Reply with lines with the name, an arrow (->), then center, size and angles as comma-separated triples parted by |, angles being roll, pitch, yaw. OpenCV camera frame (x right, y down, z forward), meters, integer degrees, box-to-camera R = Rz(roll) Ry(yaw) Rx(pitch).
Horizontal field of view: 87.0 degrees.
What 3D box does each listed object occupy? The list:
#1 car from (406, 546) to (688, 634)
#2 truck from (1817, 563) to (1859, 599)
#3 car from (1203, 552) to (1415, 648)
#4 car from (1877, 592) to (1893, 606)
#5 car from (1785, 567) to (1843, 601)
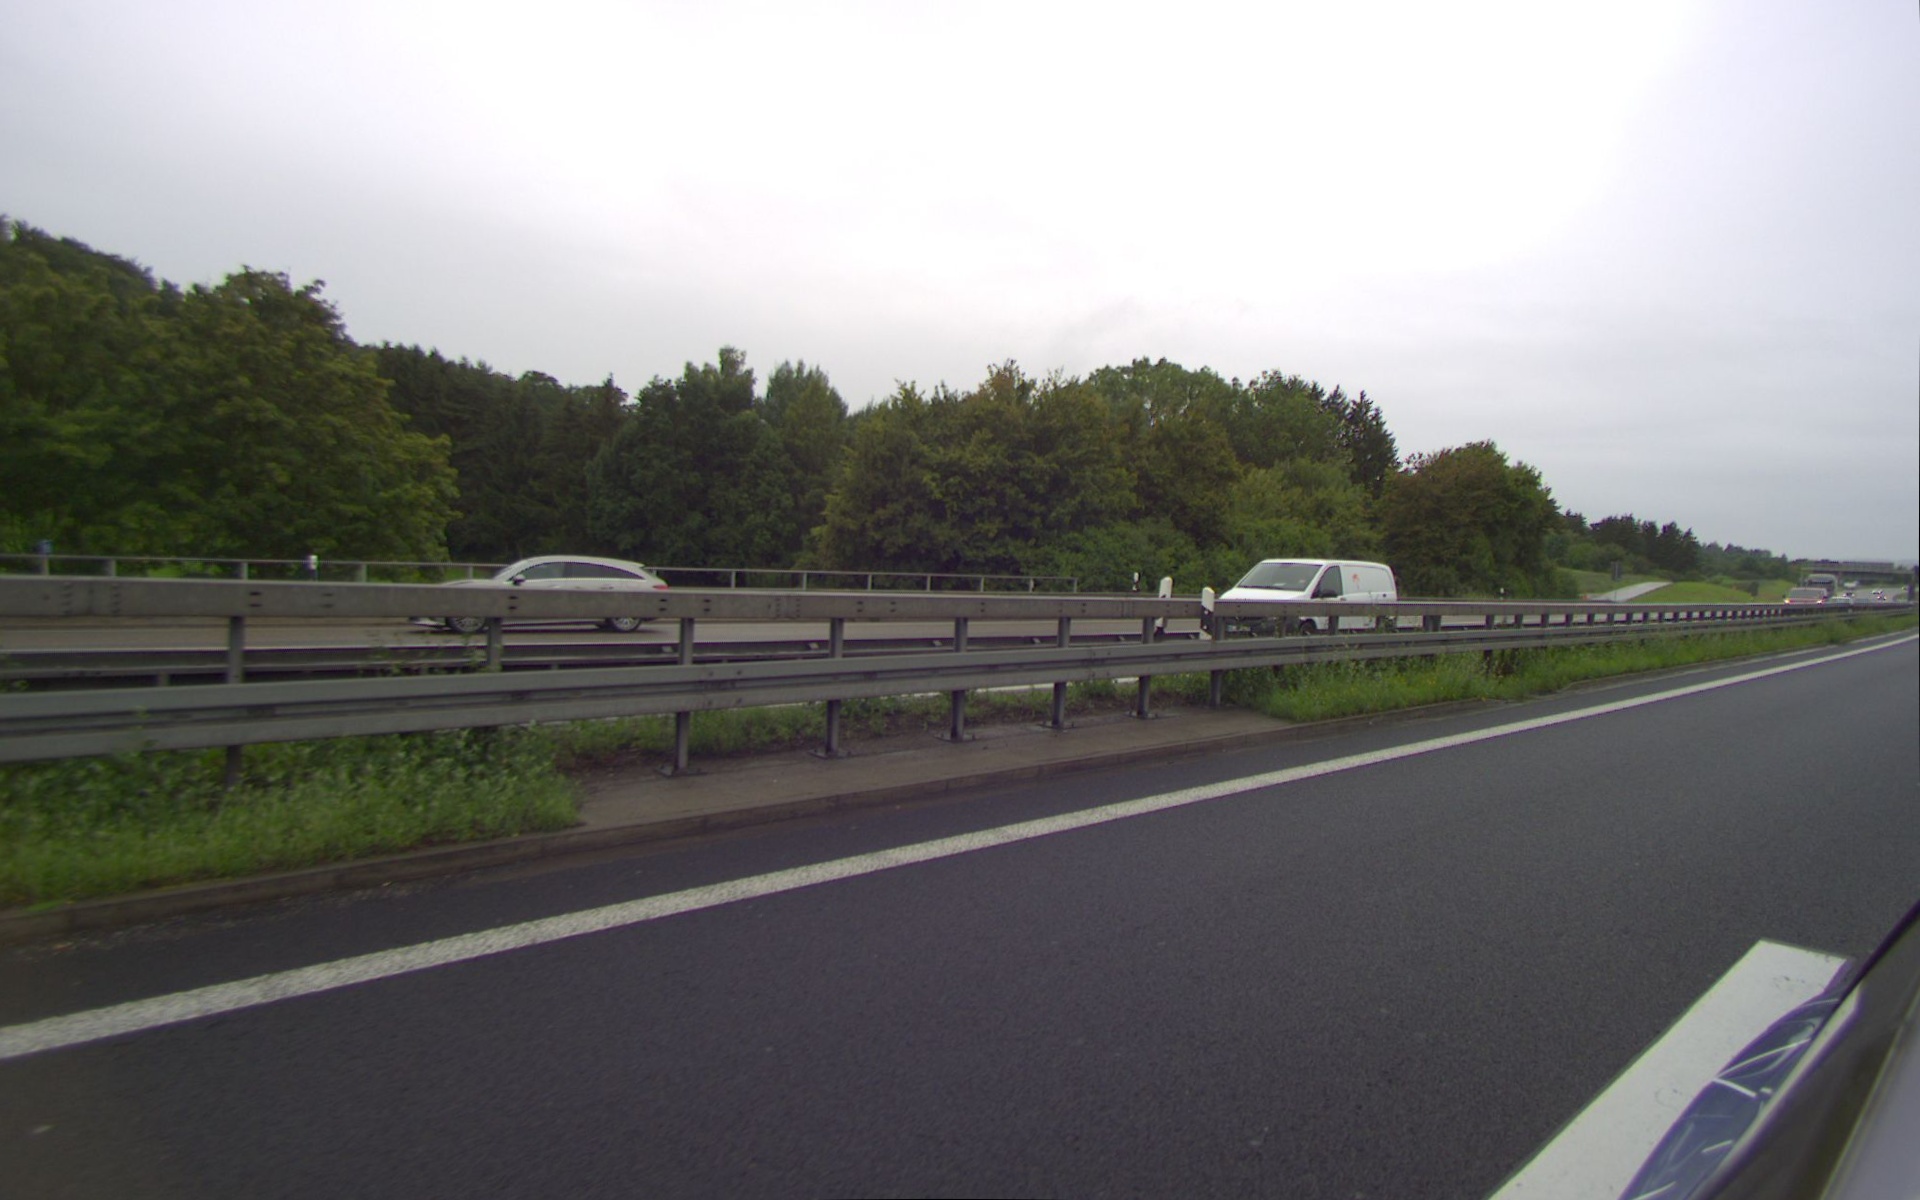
car -> -7.672, -0.206, 18.945 | 4.618, 1.473, 1.906 | 0, 2, -33
truck -> 102.246, -2.212, 117.768 | 9.863, 3.949, 2.794 | -1, 2, -44
car -> 7.089, -0.045, 20.353 | 4.635, 1.714, 1.913 | 0, 2, -40
car -> 140.761, -0.108, 153.989 | 1.748, 2.038, 4.428 | 2, 2, 44
car -> 53.680, -1.008, 63.574 | 4.991, 2.038, 2.127 | 0, 2, -43
